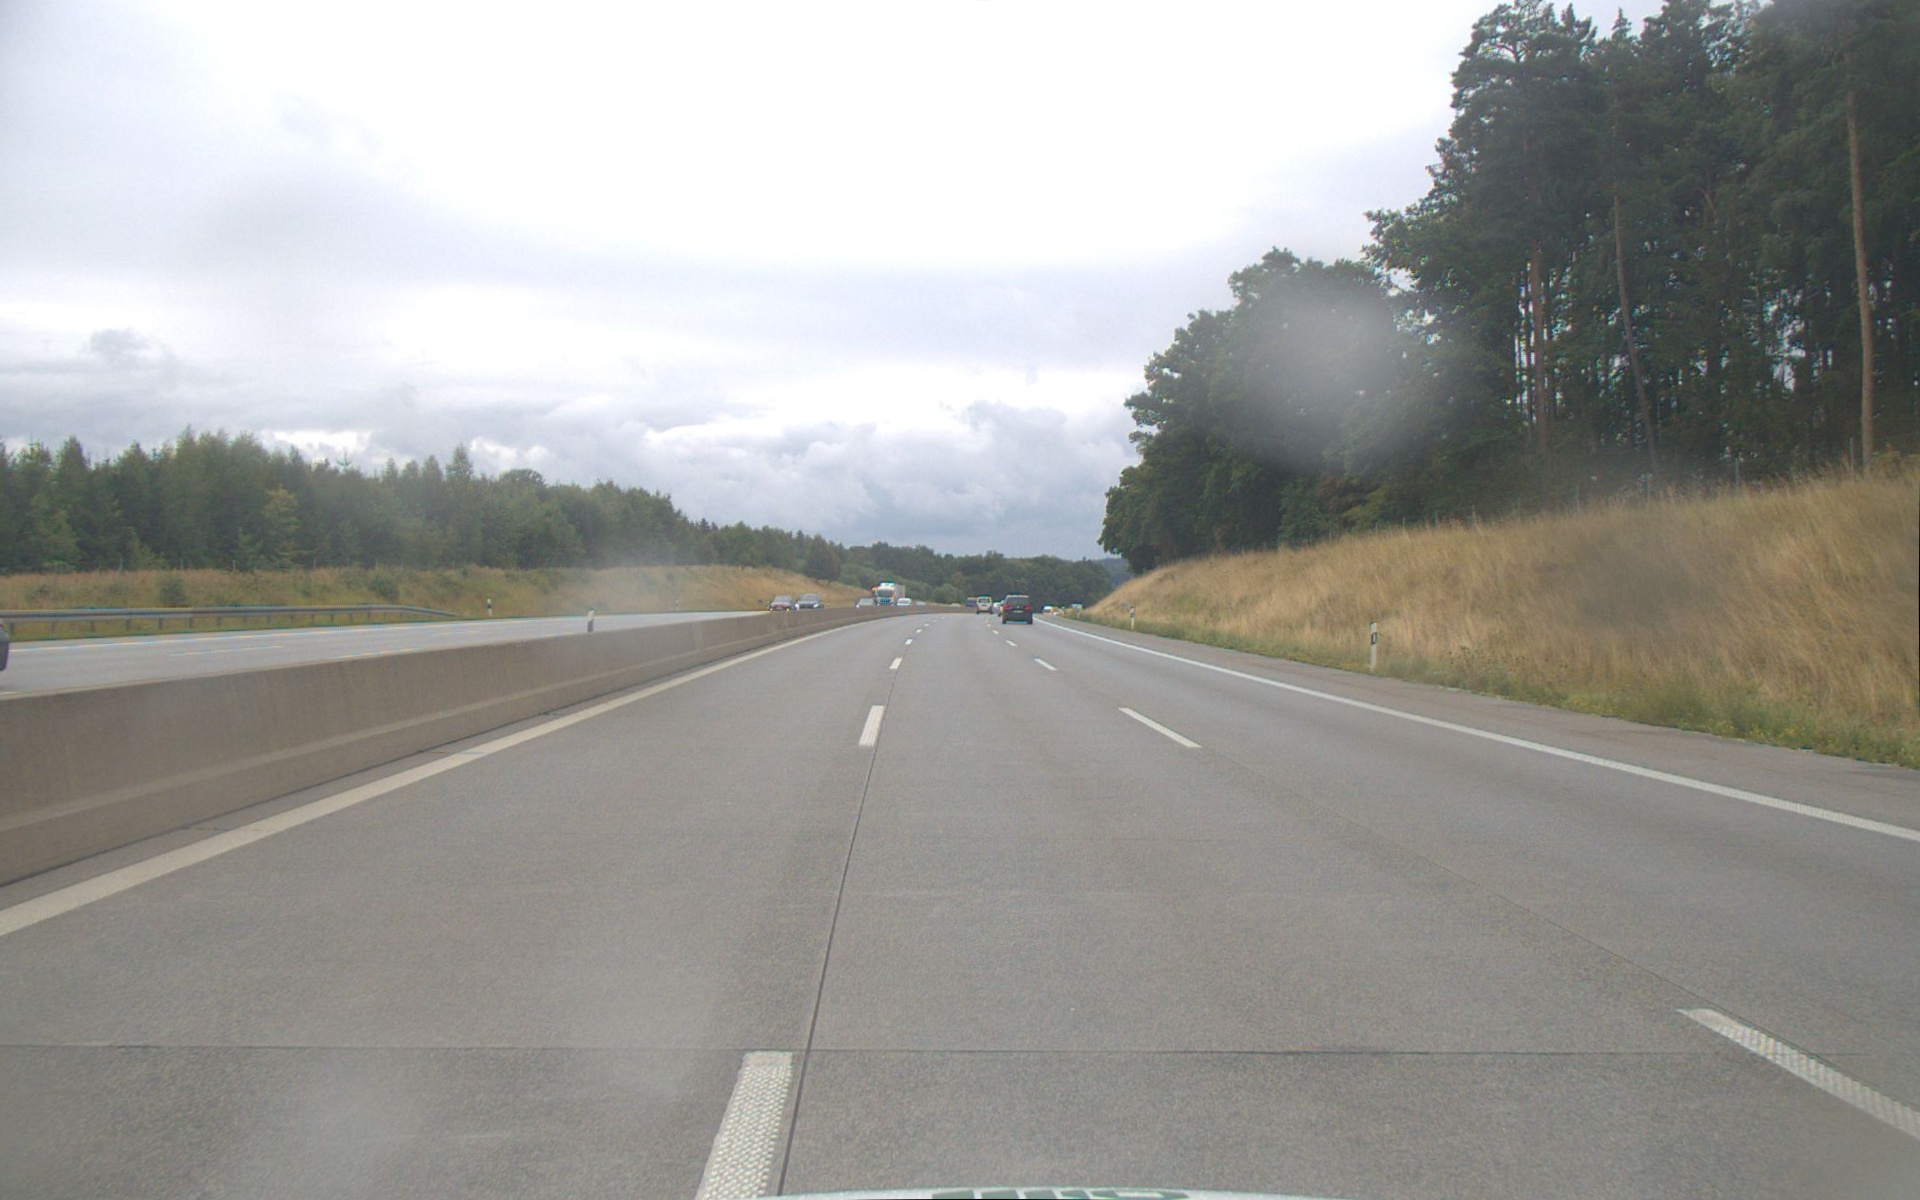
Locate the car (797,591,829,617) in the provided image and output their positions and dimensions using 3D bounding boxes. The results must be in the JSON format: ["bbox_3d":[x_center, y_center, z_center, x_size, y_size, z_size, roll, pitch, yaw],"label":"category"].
[{"bbox_3d":[-10.748,0.284,121.323,1.910,1.646,4.000,-3,2,0],"label":"car"}]

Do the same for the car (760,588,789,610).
[{"bbox_3d":[-15.549,-0.070,138.827,1.910,1.646,4.000,-3,2,0],"label":"car"}]

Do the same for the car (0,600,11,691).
[{"bbox_3d":[-14.134,0.642,21.219,1.732,1.253,3.953,1,1,-2],"label":"car"}]

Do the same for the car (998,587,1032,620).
[{"bbox_3d":[3.311,0.183,100.067,1.749,1.777,3.914,-3,2,-2],"label":"car"}]

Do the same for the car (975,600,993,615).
[{"bbox_3d":[2.821,0.895,193.805,1.804,1.526,3.999,-3,2,-2],"label":"car"}]
